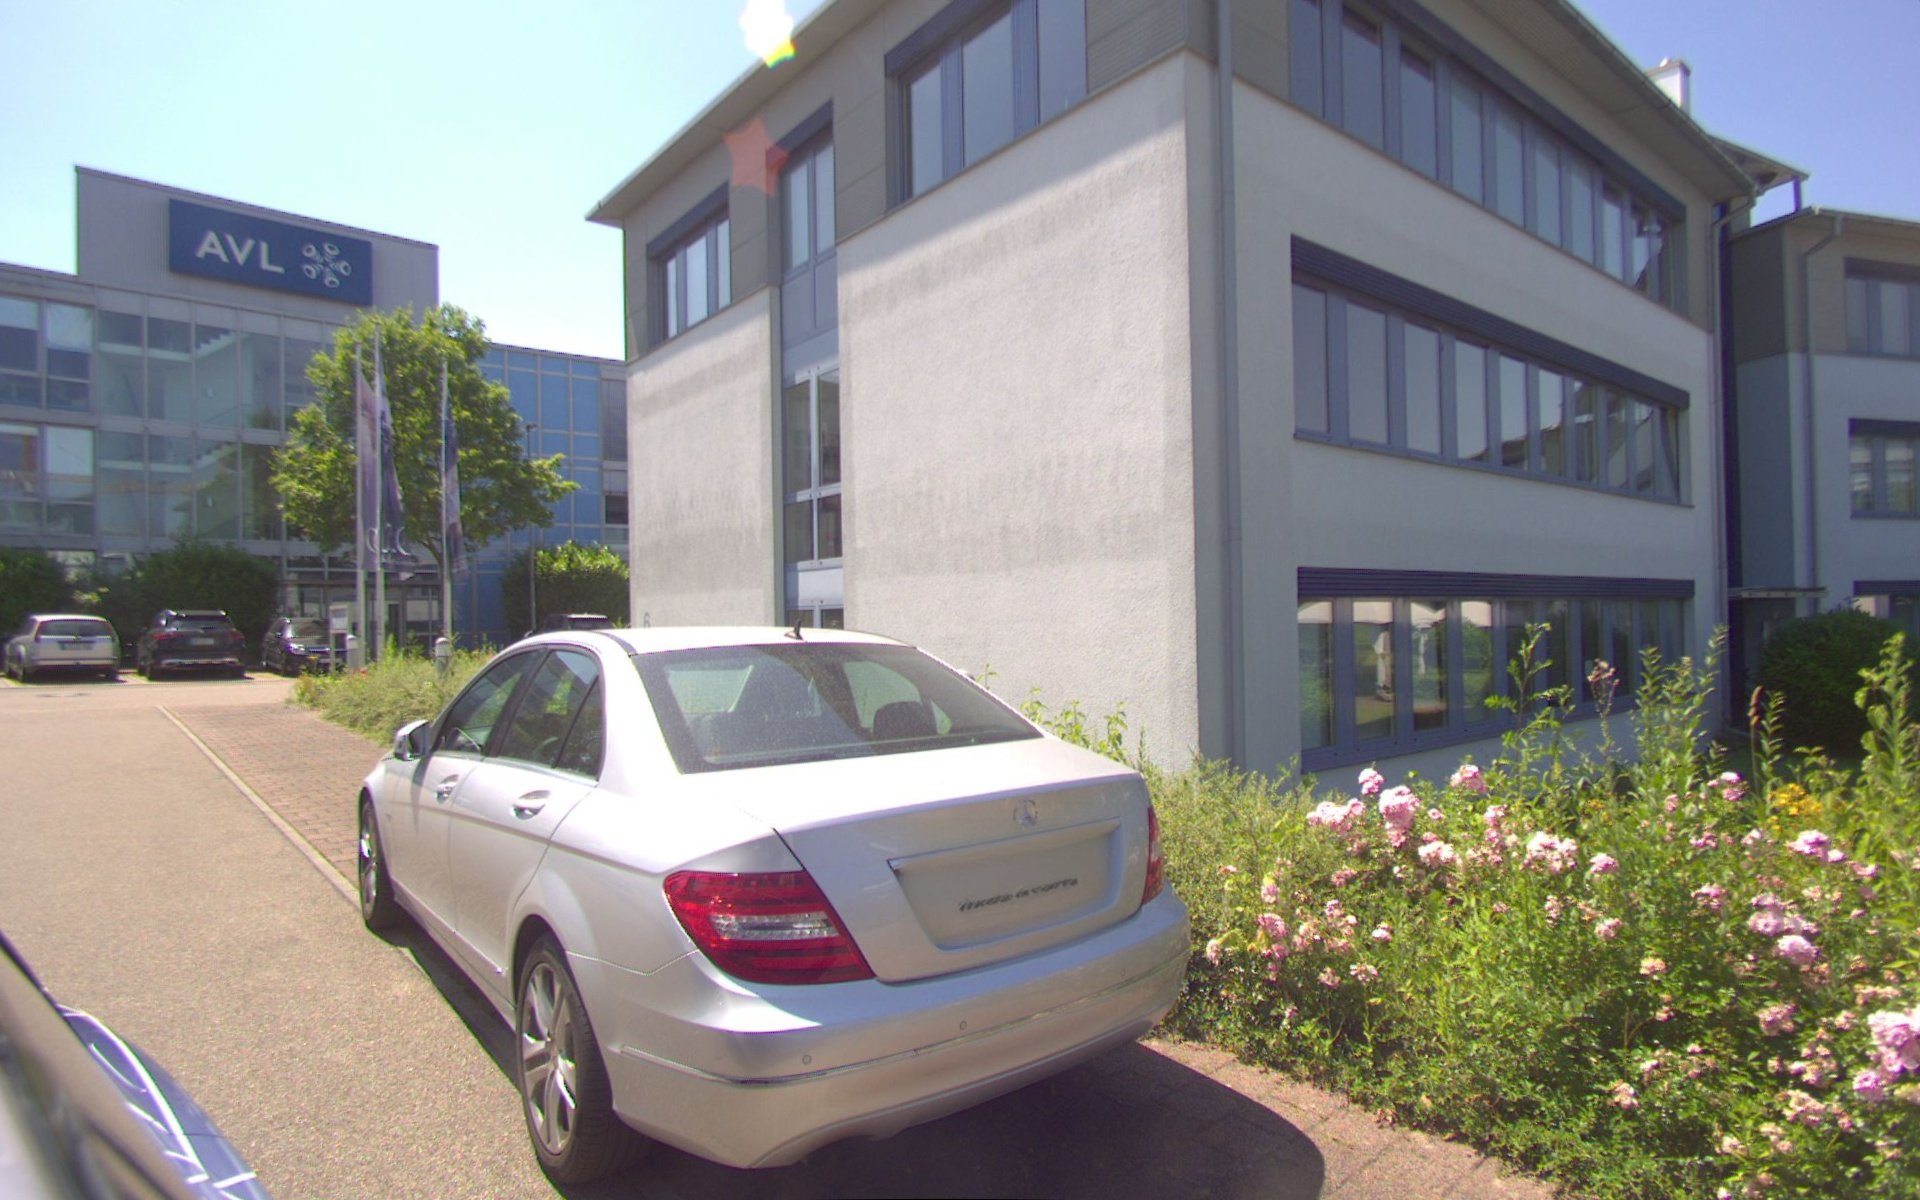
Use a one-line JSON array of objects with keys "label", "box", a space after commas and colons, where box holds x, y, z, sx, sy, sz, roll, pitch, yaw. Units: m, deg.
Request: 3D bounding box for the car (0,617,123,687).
[{"label": "car", "box": [-20.857, 1.146, 23.392, 3.598, 1.463, 1.709, 0, -2, 41]}]

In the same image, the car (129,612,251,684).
[{"label": "car", "box": [-18.960, 1.124, 24.867, 1.911, 1.615, 3.863, 2, -2, -44]}]

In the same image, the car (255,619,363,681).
[{"label": "car", "box": [-17.252, 1.261, 26.746, 1.704, 1.495, 4.402, 1, -2, -42]}]

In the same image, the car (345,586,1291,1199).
[{"label": "car", "box": [-1.041, 0.761, 3.908, 1.707, 1.468, 4.155, 2, -2, -39]}]

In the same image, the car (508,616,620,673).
[{"label": "car", "box": [-12.229, 1.321, 31.151, 1.805, 1.650, 4.176, 2, -2, -43]}]

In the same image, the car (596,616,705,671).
[{"label": "car", "box": [-10.002, 1.371, 32.561, 1.805, 1.650, 4.178, 2, -2, -41]}]
